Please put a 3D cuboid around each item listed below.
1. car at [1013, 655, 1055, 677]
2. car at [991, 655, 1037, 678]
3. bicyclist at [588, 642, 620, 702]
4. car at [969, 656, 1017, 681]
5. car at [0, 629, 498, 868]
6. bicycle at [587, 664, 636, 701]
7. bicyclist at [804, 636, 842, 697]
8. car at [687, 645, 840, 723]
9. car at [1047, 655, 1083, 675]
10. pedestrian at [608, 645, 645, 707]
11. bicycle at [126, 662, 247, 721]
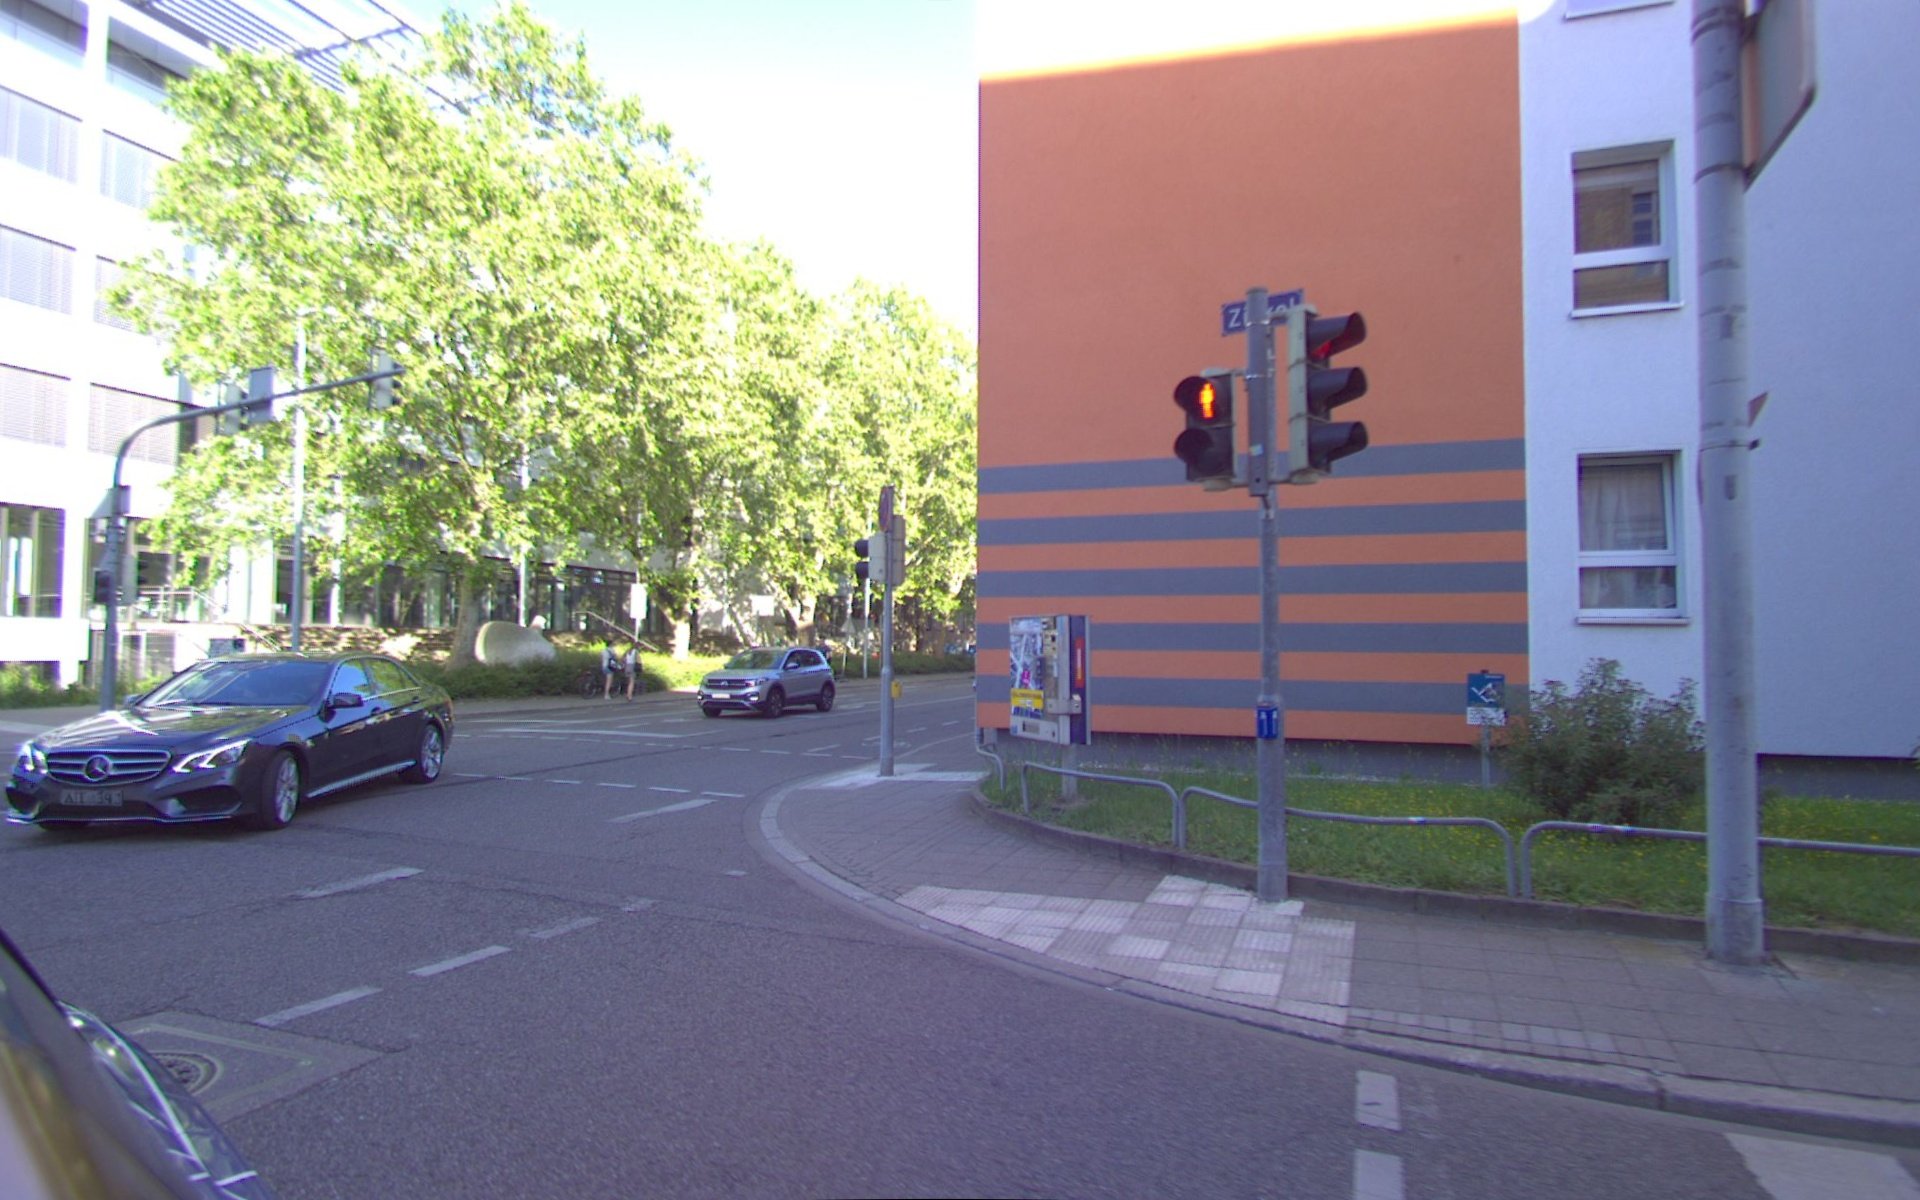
[{"bbox_3d":[5.132,4.523,69.775,1.885,1.462,4.050,-1,-3,20],"label":"car"},{"bbox_3d":[3.455,4.216,64.578,1.885,1.458,4.050,-1,-3,20],"label":"car"},{"bbox_3d":[-10.510,2.108,29.894,0.629,1.726,0.651,0,-1,18],"label":"bicyclist"},{"bbox_3d":[1.982,4.031,60.129,1.884,1.454,4.053,-1,-3,17],"label":"car"},{"bbox_3d":[-6.436,1.159,9.749,1.775,1.479,4.719,-3,1,0],"label":"car"},{"bbox_3d":[-10.462,2.450,30.392,0.518,1.042,1.637,-1,-3,17],"label":"bicycle"},{"bbox_3d":[-4.056,1.958,30.067,0.764,1.746,0.895,1,-2,18],"label":"bicyclist"},{"bbox_3d":[-4.358,1.843,23.132,1.734,1.616,3.975,-1,-3,18],"label":"car"},{"bbox_3d":[8.206,5.010,78.570,1.885,1.462,4.050,-1,-3,20],"label":"car"},{"bbox_3d":[-9.755,2.209,29.609,0.770,1.732,0.688,0,-1,18],"label":"pedestrian"},{"bbox_3d":[-15.910,1.870,20.852,1.961,1.191,0.471,1,-2,-10],"label":"bicycle"}]
